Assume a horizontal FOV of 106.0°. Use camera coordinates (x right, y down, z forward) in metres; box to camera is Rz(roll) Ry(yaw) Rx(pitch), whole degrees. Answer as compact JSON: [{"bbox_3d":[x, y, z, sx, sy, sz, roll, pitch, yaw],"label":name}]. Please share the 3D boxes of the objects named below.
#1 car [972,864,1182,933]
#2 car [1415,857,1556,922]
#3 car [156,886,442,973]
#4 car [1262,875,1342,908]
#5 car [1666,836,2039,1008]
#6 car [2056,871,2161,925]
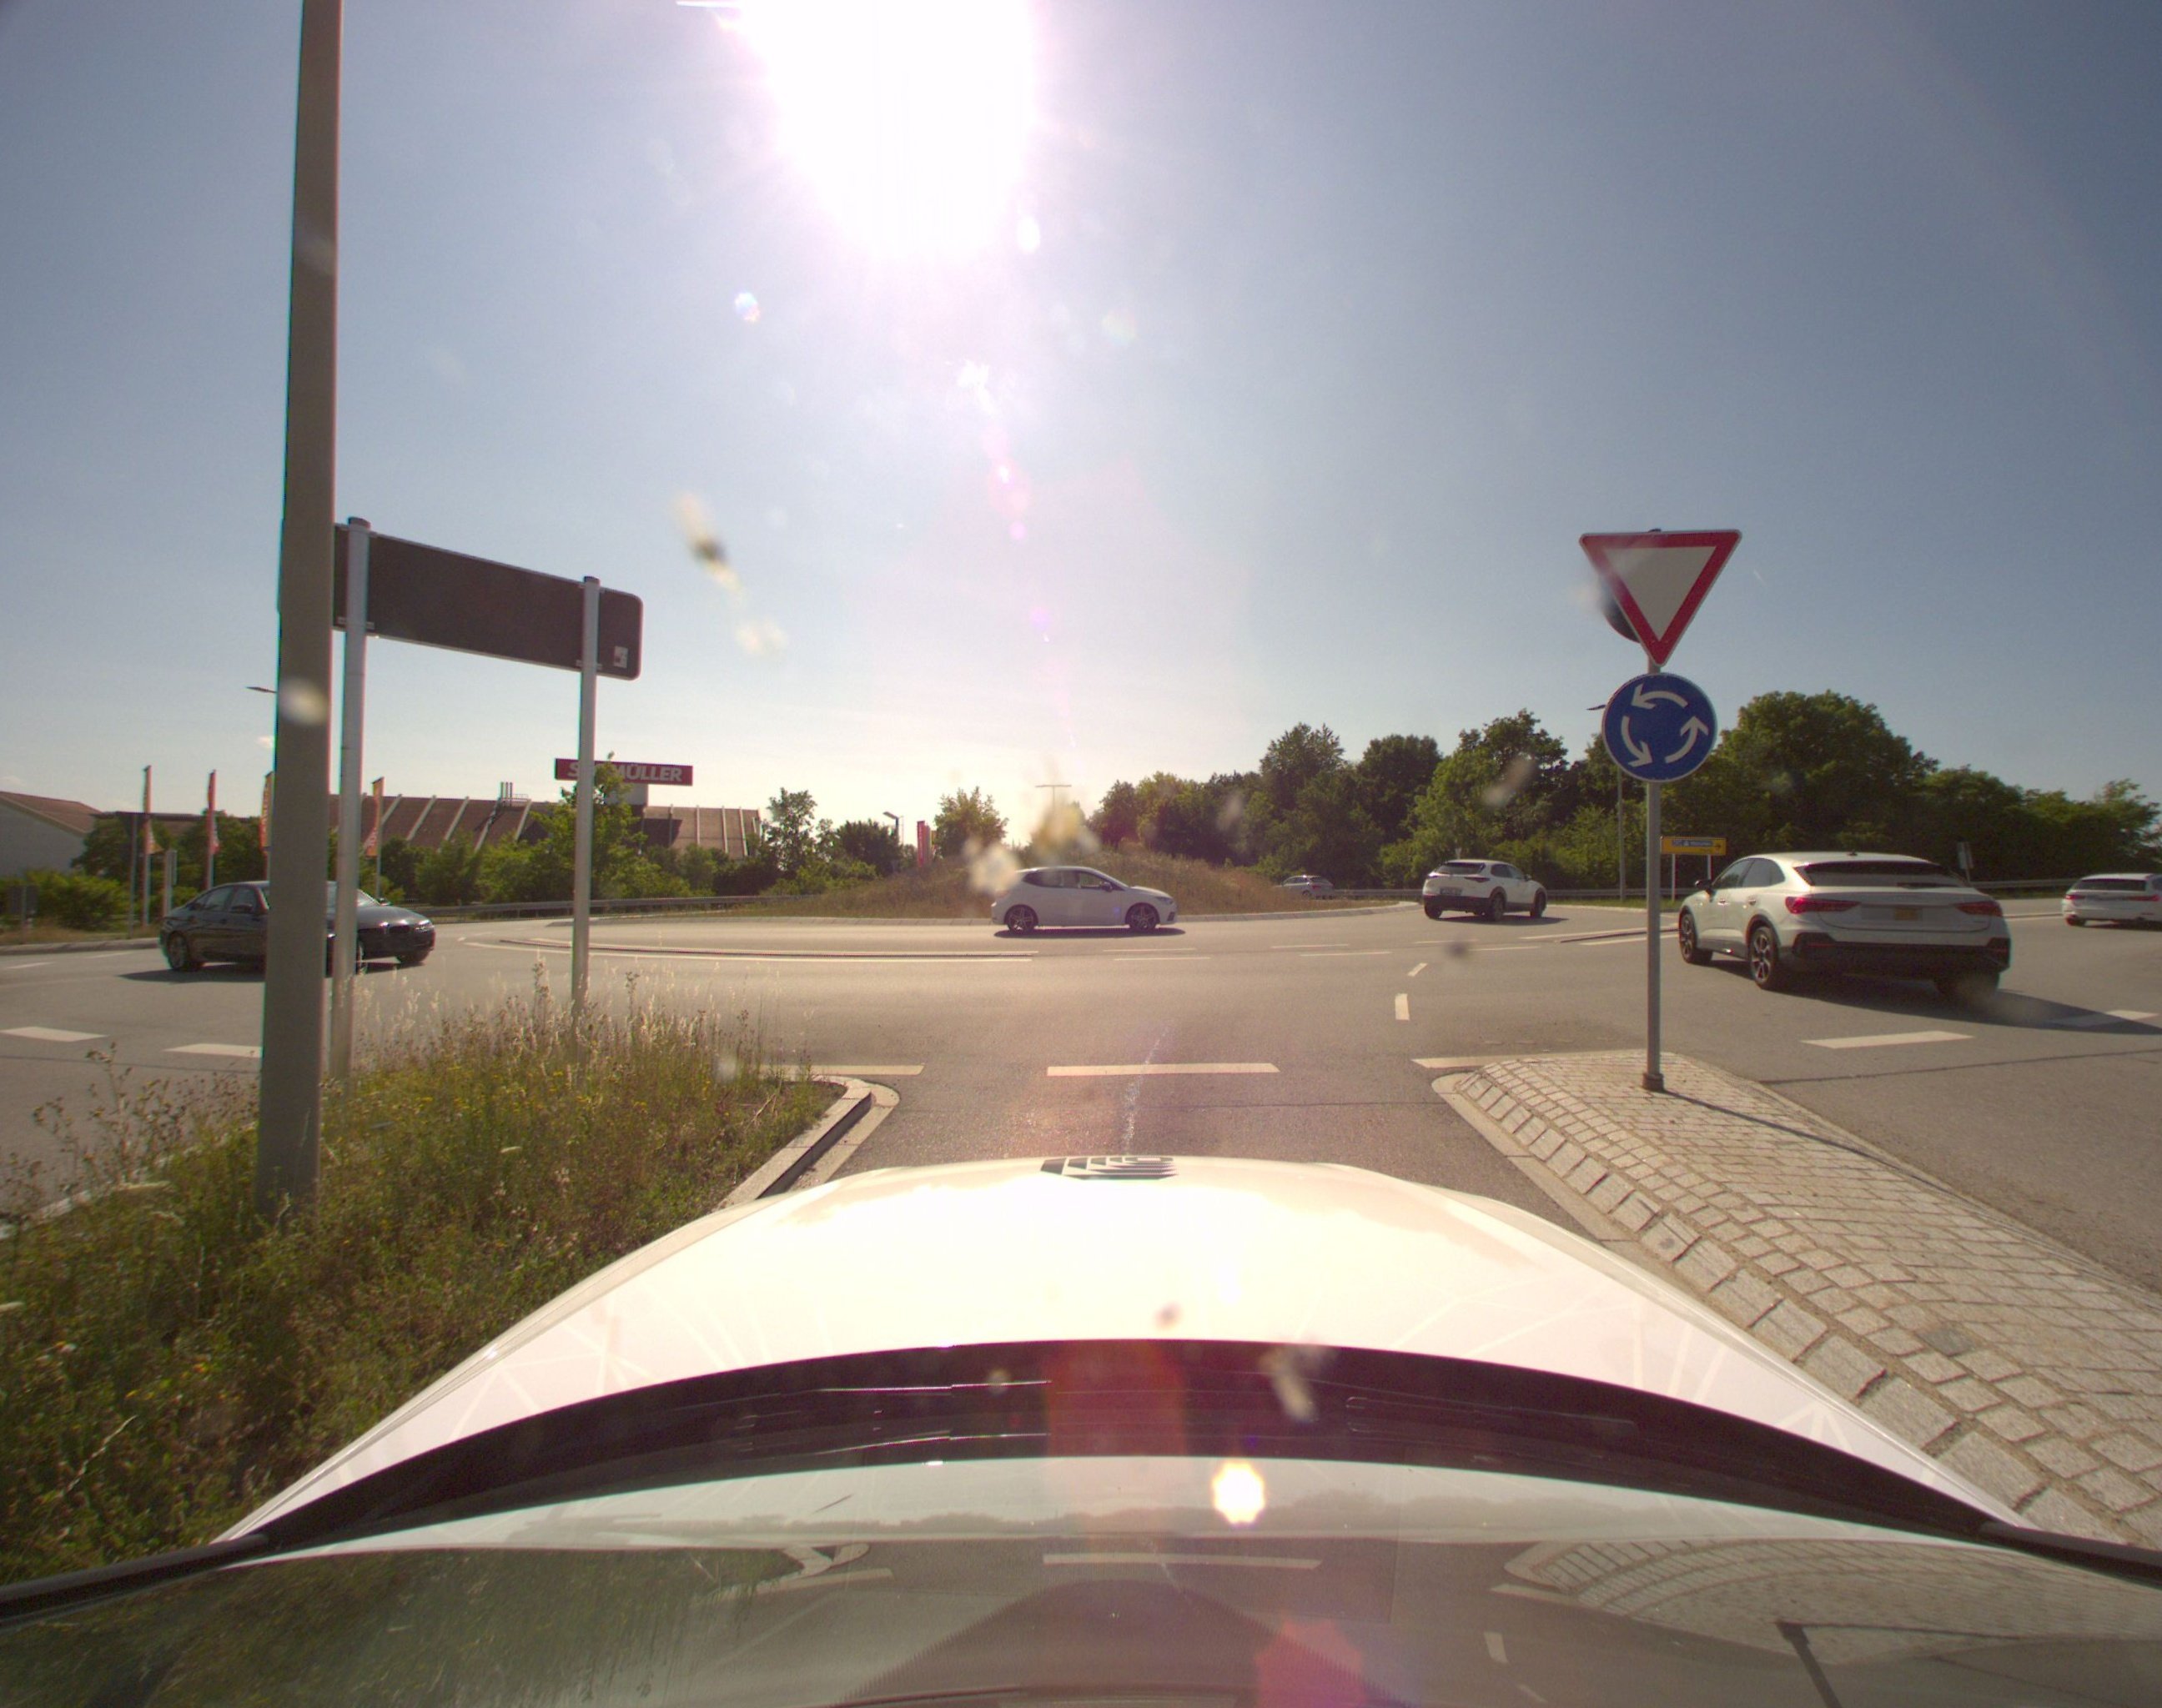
[{"bbox_3d":[-0.014,0.940,17.853,4.381,1.405,1.794,0,-1,4],"label":"car"},{"bbox_3d":[10.701,0.886,21.414,4.310,1.530,1.770,1,-2,-41],"label":"car"},{"bbox_3d":[-12.600,1.150,13.165,3.821,1.182,1.684,0,-1,18],"label":"car"},{"bbox_3d":[11.423,1.898,42.308,1.786,1.596,3.964,1,-1,-27],"label":"car"},{"bbox_3d":[8.857,0.663,9.926,1.825,1.596,4.348,-1,-1,22],"label":"car"},{"bbox_3d":[28.619,1.145,21.899,4.338,1.352,1.563,1,-1,-18],"label":"car"}]
